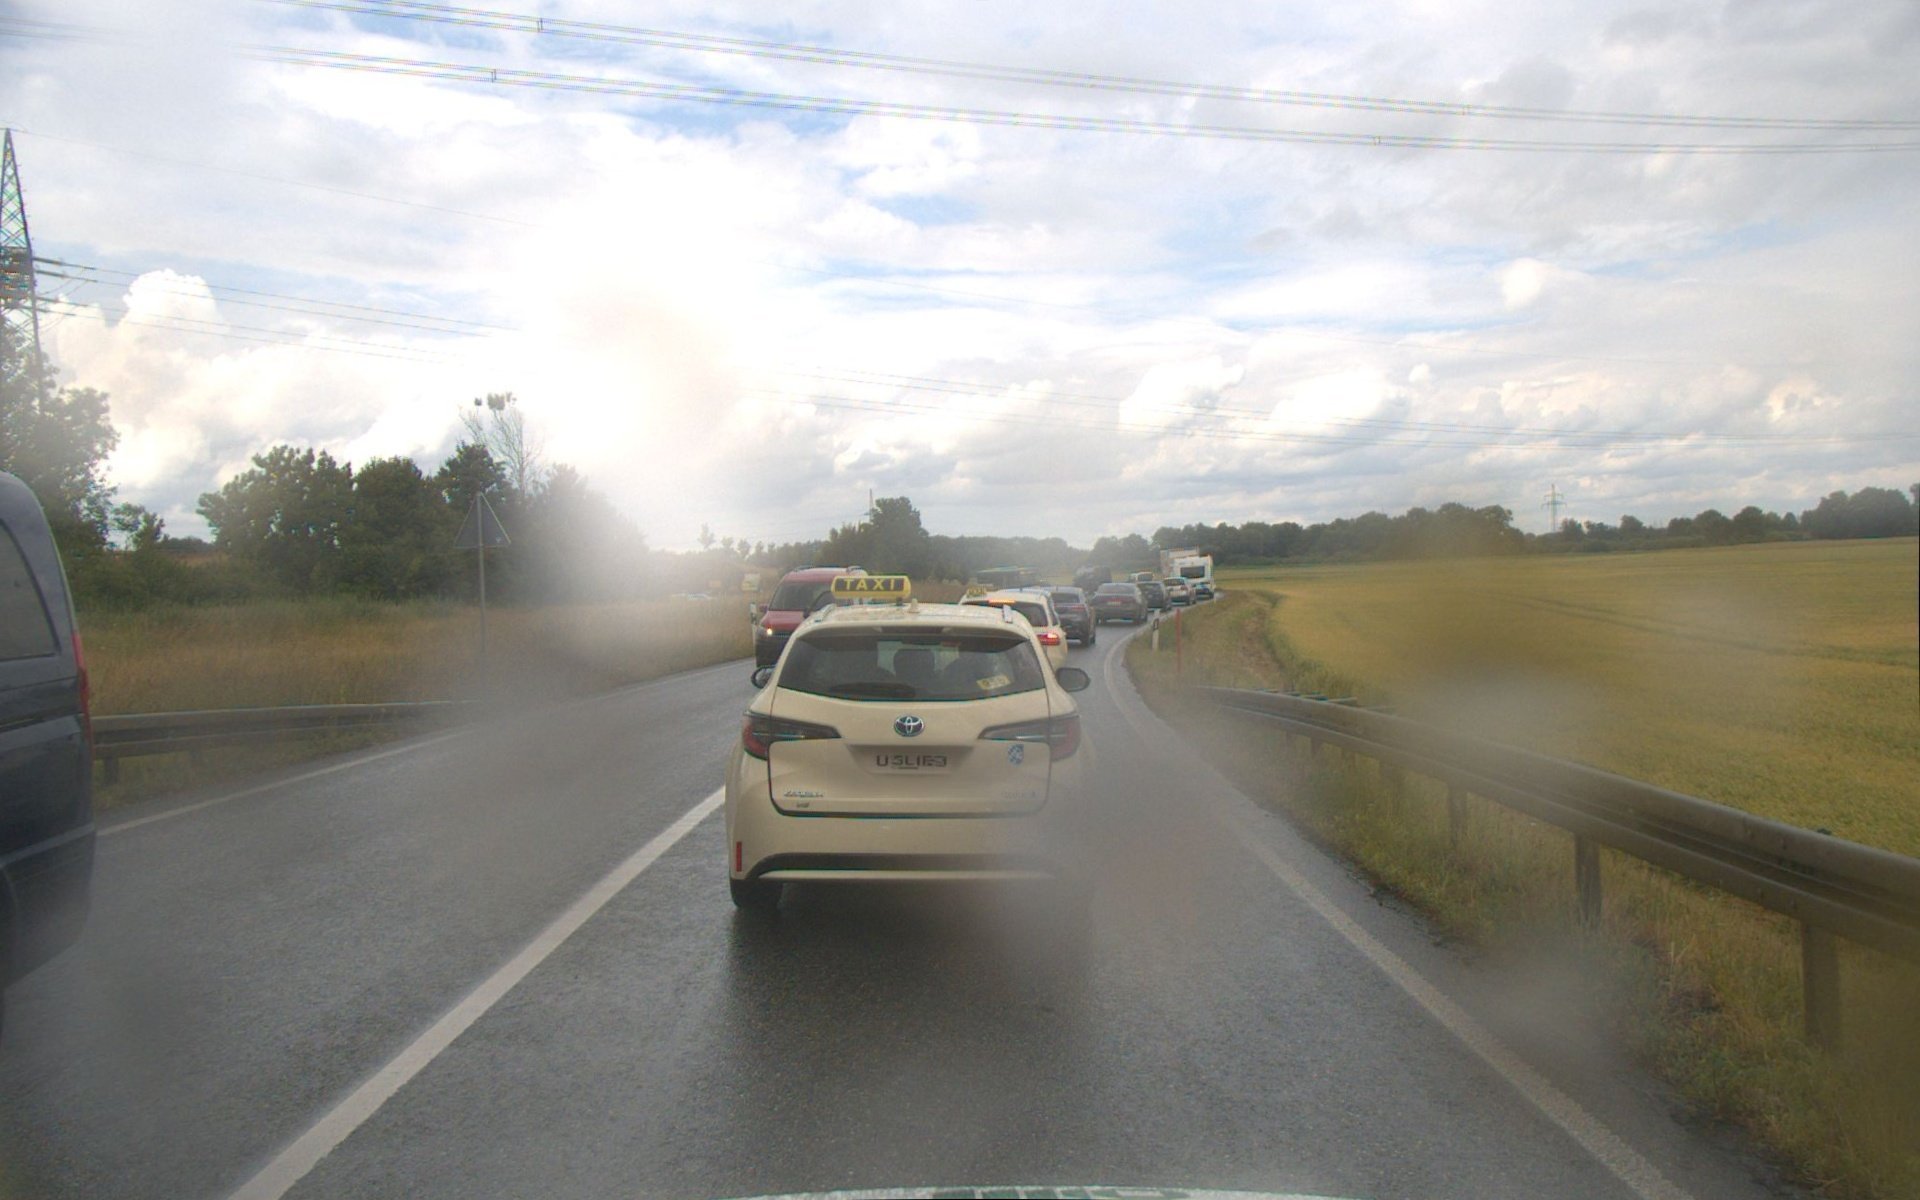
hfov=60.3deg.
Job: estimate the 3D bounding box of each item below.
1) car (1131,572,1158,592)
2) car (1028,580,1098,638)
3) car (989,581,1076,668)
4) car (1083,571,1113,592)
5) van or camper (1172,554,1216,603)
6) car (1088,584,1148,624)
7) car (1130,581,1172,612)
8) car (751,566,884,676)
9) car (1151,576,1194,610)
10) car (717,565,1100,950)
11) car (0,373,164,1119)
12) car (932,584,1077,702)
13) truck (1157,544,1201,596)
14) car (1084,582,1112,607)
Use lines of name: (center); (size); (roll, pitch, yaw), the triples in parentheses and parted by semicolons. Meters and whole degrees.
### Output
car: (16.949, -1.625, 152.045); (1.845, 1.804, 4.157); (1, 0, -3)
car: (2.749, 0.246, 43.477); (1.578, 1.438, 3.741); (1, 0, 7)
car: (1.547, 0.481, 34.318); (1.578, 1.688, 3.741); (1, 0, 6)
car: (13.895, -1.813, 166.668); (1.710, 2.049, 4.132); (1, 0, -14)
van or camper: (14.784, -1.361, 104.292); (2.482, 2.946, 6.749); (0, 1, 10)
car: (5.984, 0.150, 62.208); (1.918, 1.438, 4.396); (1, 0, 10)
car: (9.129, -0.160, 78.899); (1.786, 1.438, 3.741); (1, 0, 9)
car: (-2.575, 0.374, 30.885); (1.763, 1.883, 4.522); (0, 0, 4)
car: (11.523, -0.356, 89.520); (1.918, 1.759, 3.741); (1, 0, 13)
car: (-0.254, 0.667, 8.766); (1.580, 1.589, 3.737); (1, 0, -1)
car: (-3.576, 0.406, 3.048); (1.922, 2.049, 4.860); (0, 0, -1)
car: (0.746, 0.540, 24.164); (1.802, 1.518, 4.611); (1, 1, 5)
truck: (17.472, -2.328, 132.310); (3.061, 3.920, 7.390); (1, 0, 4)
car: (11.500, -0.440, 137.617); (1.953, 2.049, 4.245); (1, 0, 0)
